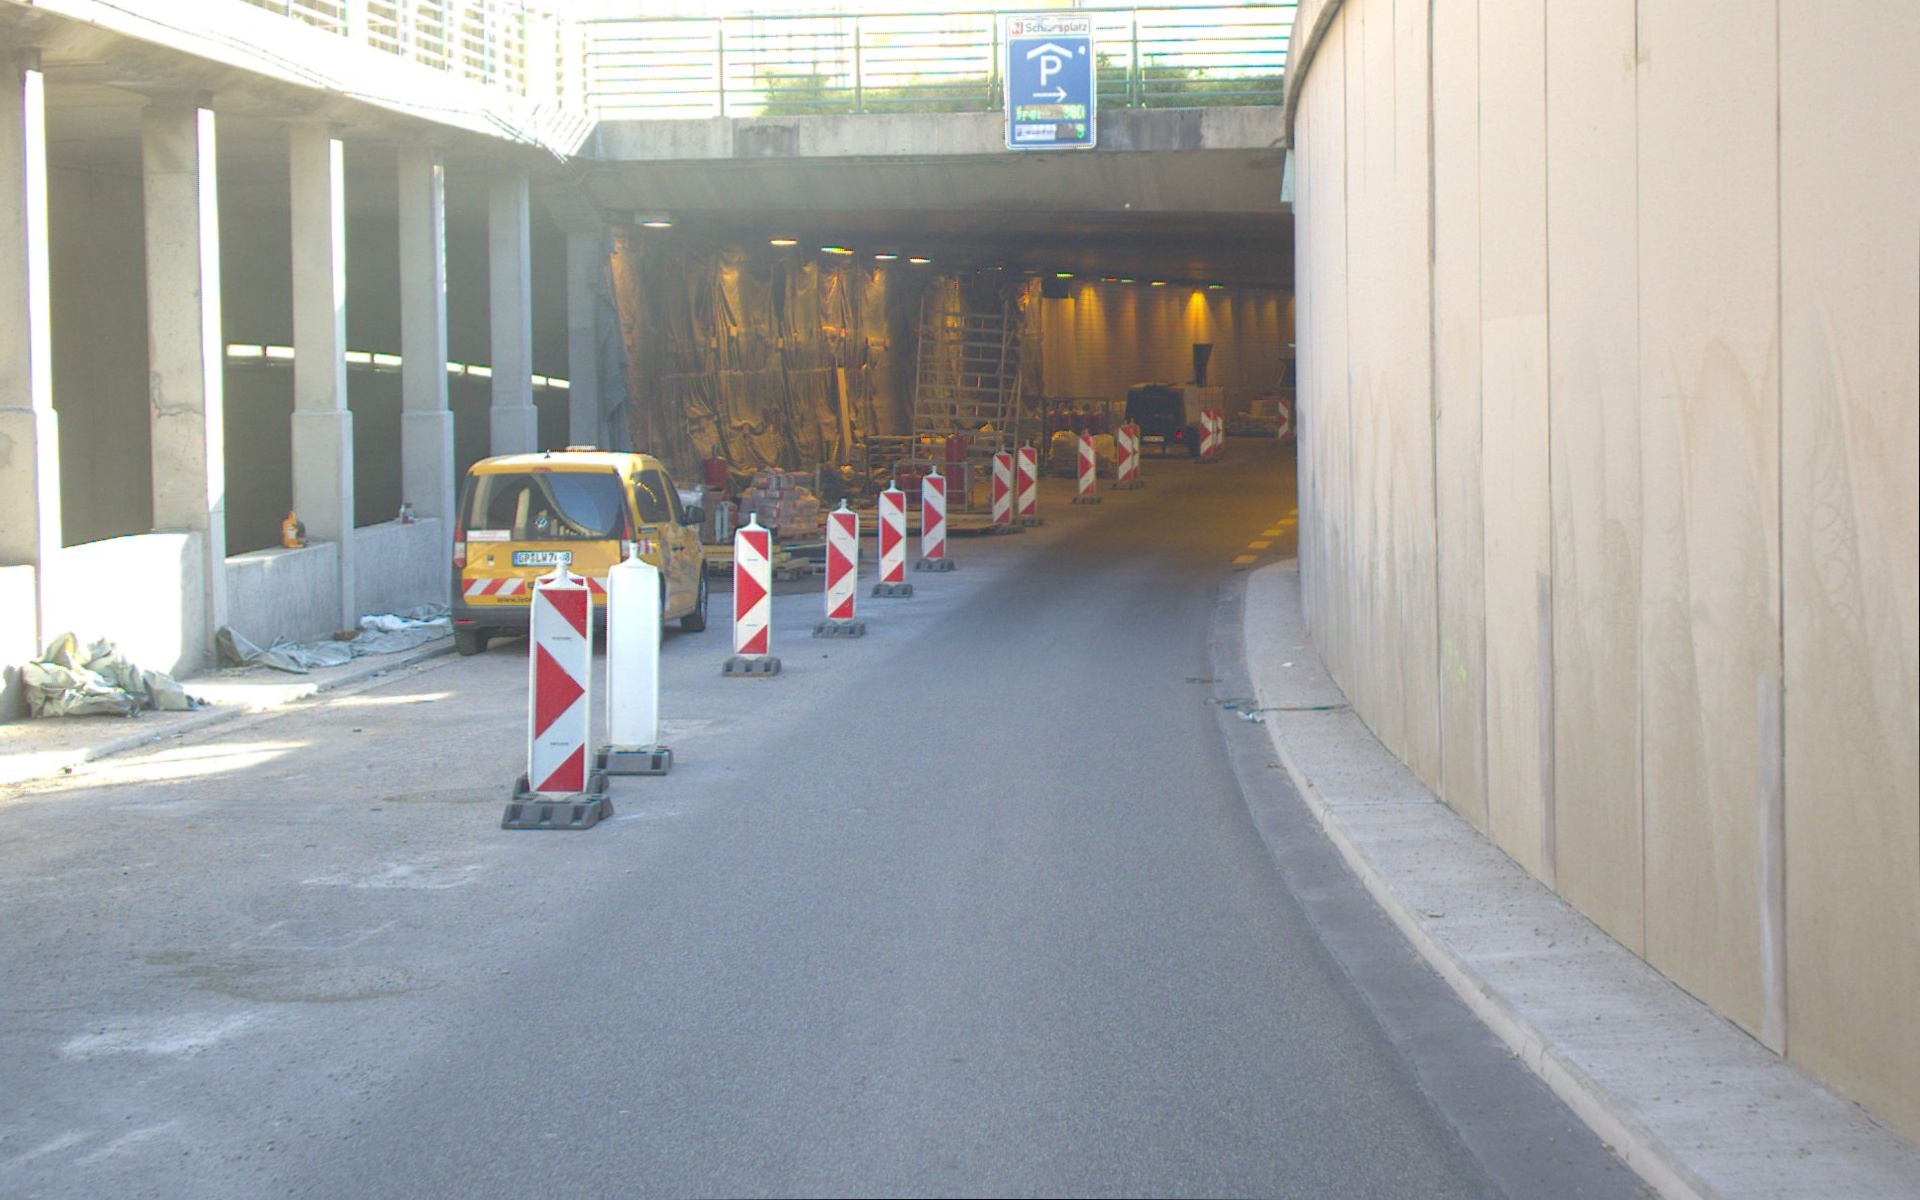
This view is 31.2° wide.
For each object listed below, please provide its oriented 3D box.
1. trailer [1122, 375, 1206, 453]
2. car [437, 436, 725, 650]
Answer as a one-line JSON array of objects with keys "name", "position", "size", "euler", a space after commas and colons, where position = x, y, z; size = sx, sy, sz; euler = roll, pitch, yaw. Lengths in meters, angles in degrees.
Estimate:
[{"name": "trailer", "position": [4.871, -4.451, 81.917], "size": [1.581, 1.791, 2.938], "euler": [1, 4, 11]}, {"name": "car", "position": [-3.427, -0.598, 31.909], "size": [1.848, 1.769, 4.434], "euler": [0, 4, 4]}]
